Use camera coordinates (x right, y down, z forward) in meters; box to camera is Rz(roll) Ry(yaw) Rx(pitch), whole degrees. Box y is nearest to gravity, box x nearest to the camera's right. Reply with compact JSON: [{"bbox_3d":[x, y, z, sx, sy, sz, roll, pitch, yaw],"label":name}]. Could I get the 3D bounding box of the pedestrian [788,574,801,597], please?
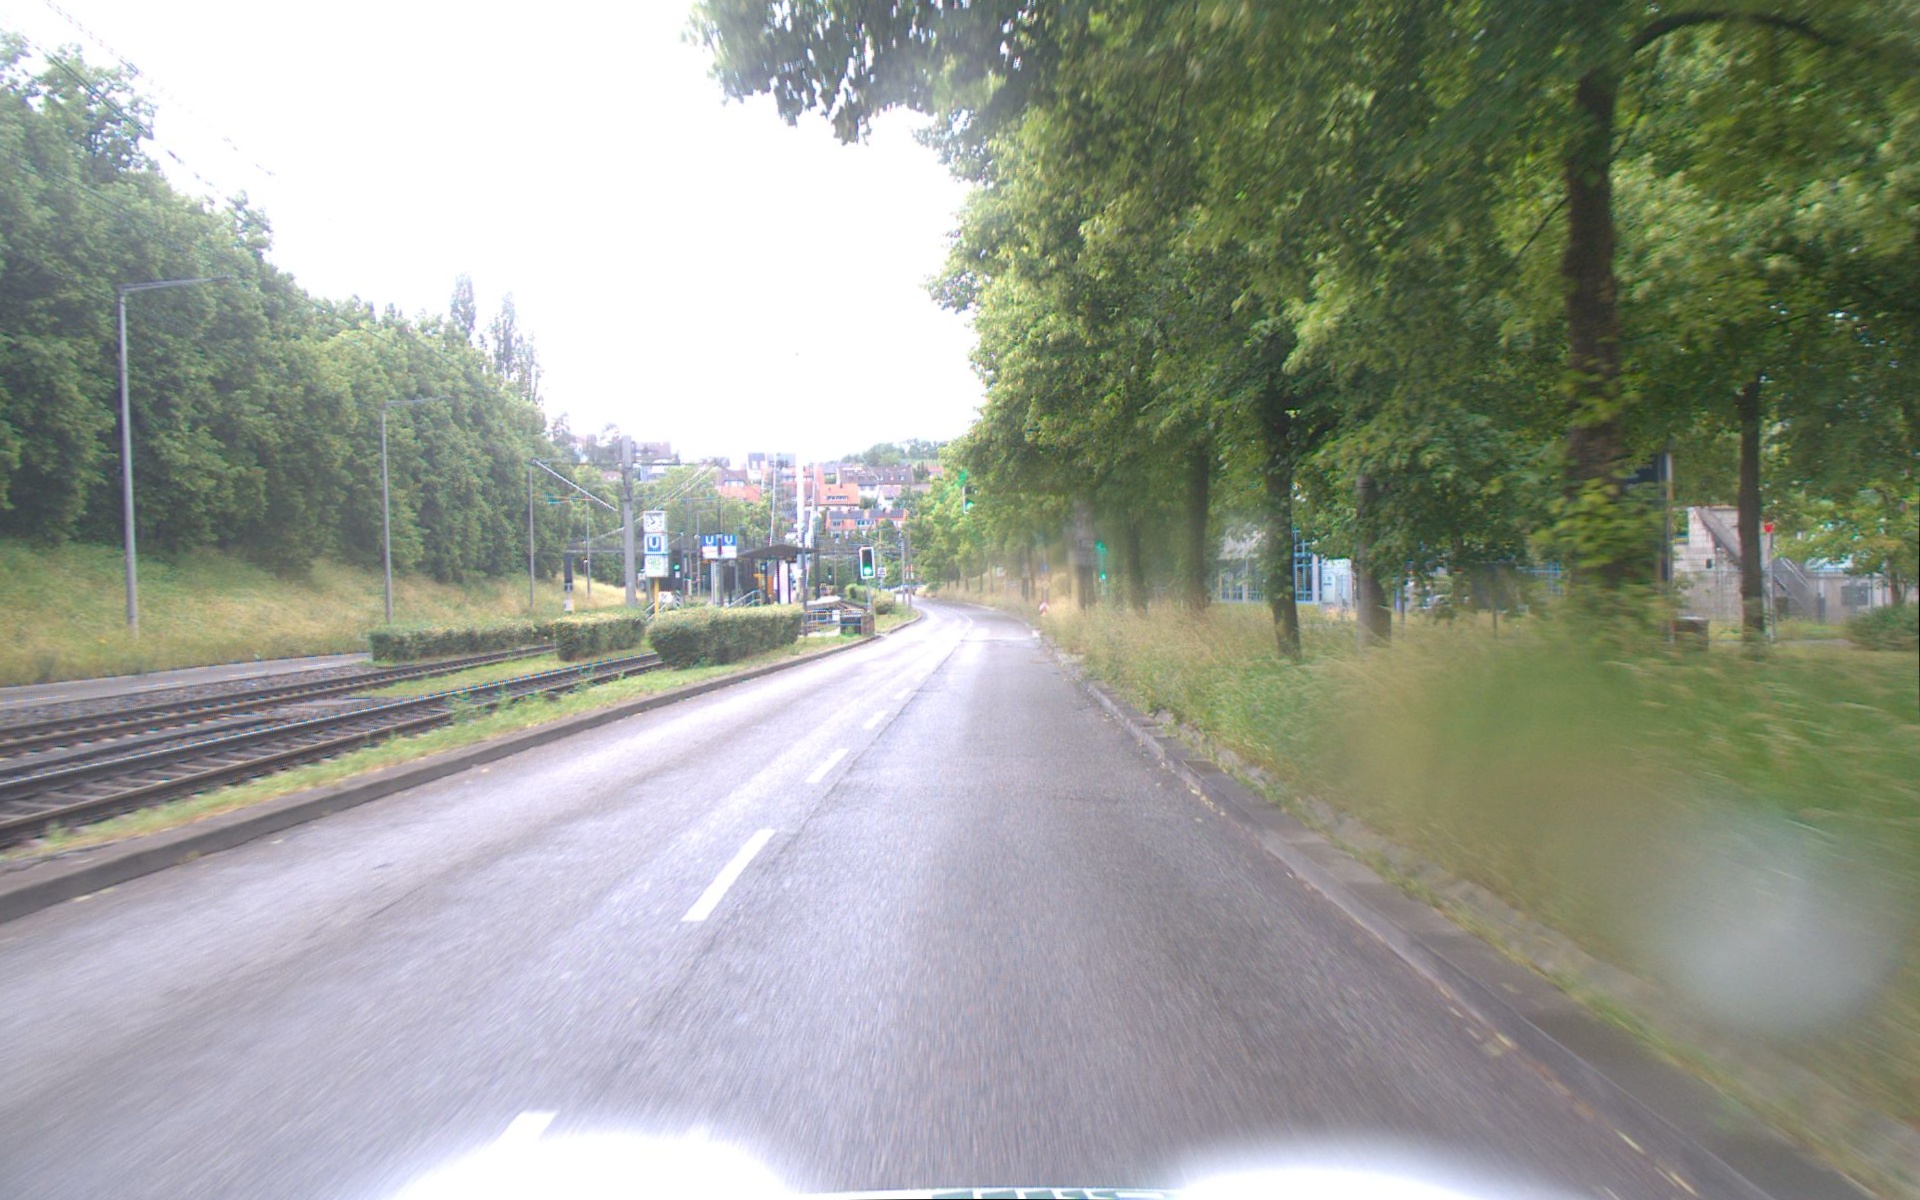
[{"bbox_3d":[-12.449,-1.090,124.303,0.916,1.639,1.026,-1,0,-3],"label":"pedestrian"}]
